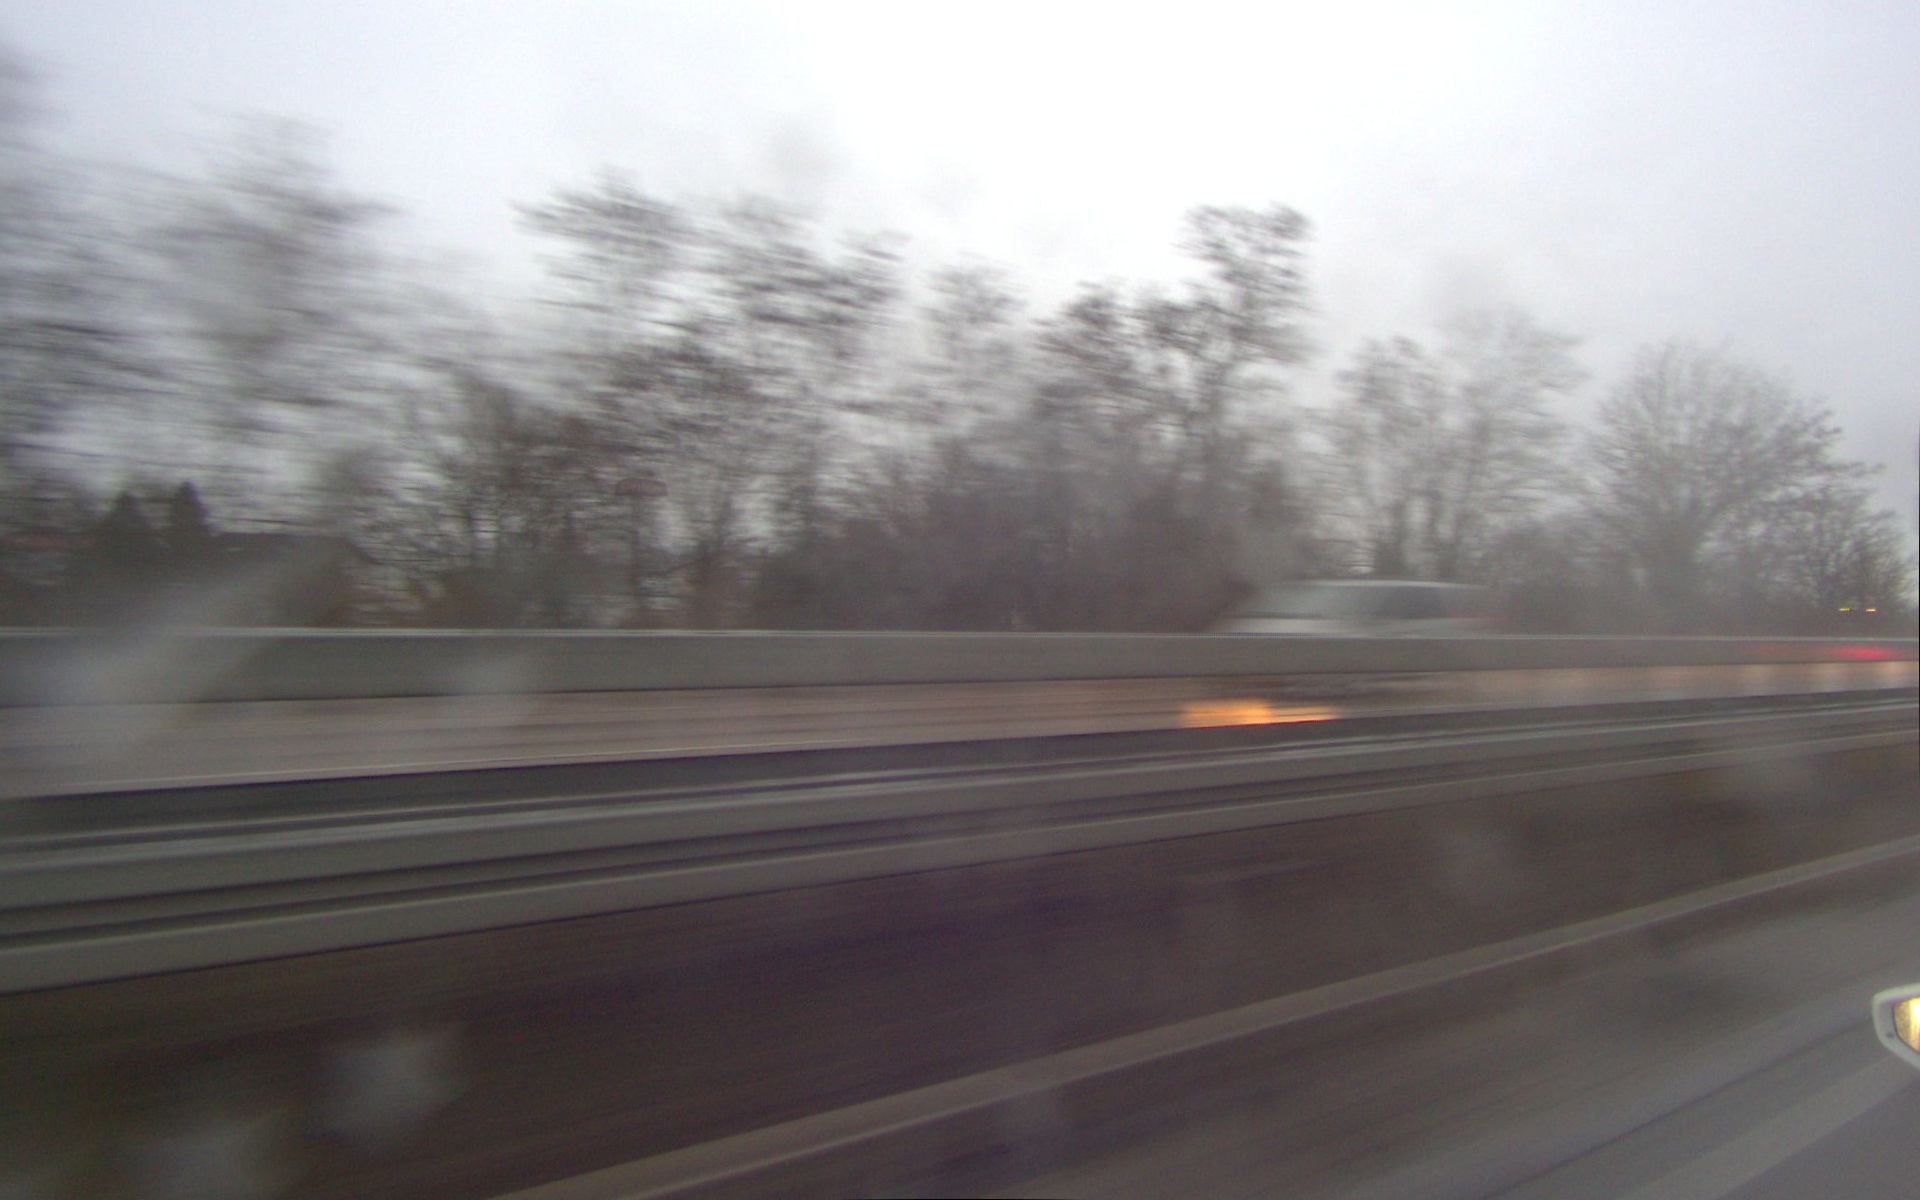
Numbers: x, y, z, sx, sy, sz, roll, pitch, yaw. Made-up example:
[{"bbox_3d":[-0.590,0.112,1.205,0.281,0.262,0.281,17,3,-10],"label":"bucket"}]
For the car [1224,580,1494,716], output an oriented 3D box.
[{"bbox_3d":[6.756,0.768,16.866,4.488,1.999,1.924,2,0,-33],"label":"car"}]
